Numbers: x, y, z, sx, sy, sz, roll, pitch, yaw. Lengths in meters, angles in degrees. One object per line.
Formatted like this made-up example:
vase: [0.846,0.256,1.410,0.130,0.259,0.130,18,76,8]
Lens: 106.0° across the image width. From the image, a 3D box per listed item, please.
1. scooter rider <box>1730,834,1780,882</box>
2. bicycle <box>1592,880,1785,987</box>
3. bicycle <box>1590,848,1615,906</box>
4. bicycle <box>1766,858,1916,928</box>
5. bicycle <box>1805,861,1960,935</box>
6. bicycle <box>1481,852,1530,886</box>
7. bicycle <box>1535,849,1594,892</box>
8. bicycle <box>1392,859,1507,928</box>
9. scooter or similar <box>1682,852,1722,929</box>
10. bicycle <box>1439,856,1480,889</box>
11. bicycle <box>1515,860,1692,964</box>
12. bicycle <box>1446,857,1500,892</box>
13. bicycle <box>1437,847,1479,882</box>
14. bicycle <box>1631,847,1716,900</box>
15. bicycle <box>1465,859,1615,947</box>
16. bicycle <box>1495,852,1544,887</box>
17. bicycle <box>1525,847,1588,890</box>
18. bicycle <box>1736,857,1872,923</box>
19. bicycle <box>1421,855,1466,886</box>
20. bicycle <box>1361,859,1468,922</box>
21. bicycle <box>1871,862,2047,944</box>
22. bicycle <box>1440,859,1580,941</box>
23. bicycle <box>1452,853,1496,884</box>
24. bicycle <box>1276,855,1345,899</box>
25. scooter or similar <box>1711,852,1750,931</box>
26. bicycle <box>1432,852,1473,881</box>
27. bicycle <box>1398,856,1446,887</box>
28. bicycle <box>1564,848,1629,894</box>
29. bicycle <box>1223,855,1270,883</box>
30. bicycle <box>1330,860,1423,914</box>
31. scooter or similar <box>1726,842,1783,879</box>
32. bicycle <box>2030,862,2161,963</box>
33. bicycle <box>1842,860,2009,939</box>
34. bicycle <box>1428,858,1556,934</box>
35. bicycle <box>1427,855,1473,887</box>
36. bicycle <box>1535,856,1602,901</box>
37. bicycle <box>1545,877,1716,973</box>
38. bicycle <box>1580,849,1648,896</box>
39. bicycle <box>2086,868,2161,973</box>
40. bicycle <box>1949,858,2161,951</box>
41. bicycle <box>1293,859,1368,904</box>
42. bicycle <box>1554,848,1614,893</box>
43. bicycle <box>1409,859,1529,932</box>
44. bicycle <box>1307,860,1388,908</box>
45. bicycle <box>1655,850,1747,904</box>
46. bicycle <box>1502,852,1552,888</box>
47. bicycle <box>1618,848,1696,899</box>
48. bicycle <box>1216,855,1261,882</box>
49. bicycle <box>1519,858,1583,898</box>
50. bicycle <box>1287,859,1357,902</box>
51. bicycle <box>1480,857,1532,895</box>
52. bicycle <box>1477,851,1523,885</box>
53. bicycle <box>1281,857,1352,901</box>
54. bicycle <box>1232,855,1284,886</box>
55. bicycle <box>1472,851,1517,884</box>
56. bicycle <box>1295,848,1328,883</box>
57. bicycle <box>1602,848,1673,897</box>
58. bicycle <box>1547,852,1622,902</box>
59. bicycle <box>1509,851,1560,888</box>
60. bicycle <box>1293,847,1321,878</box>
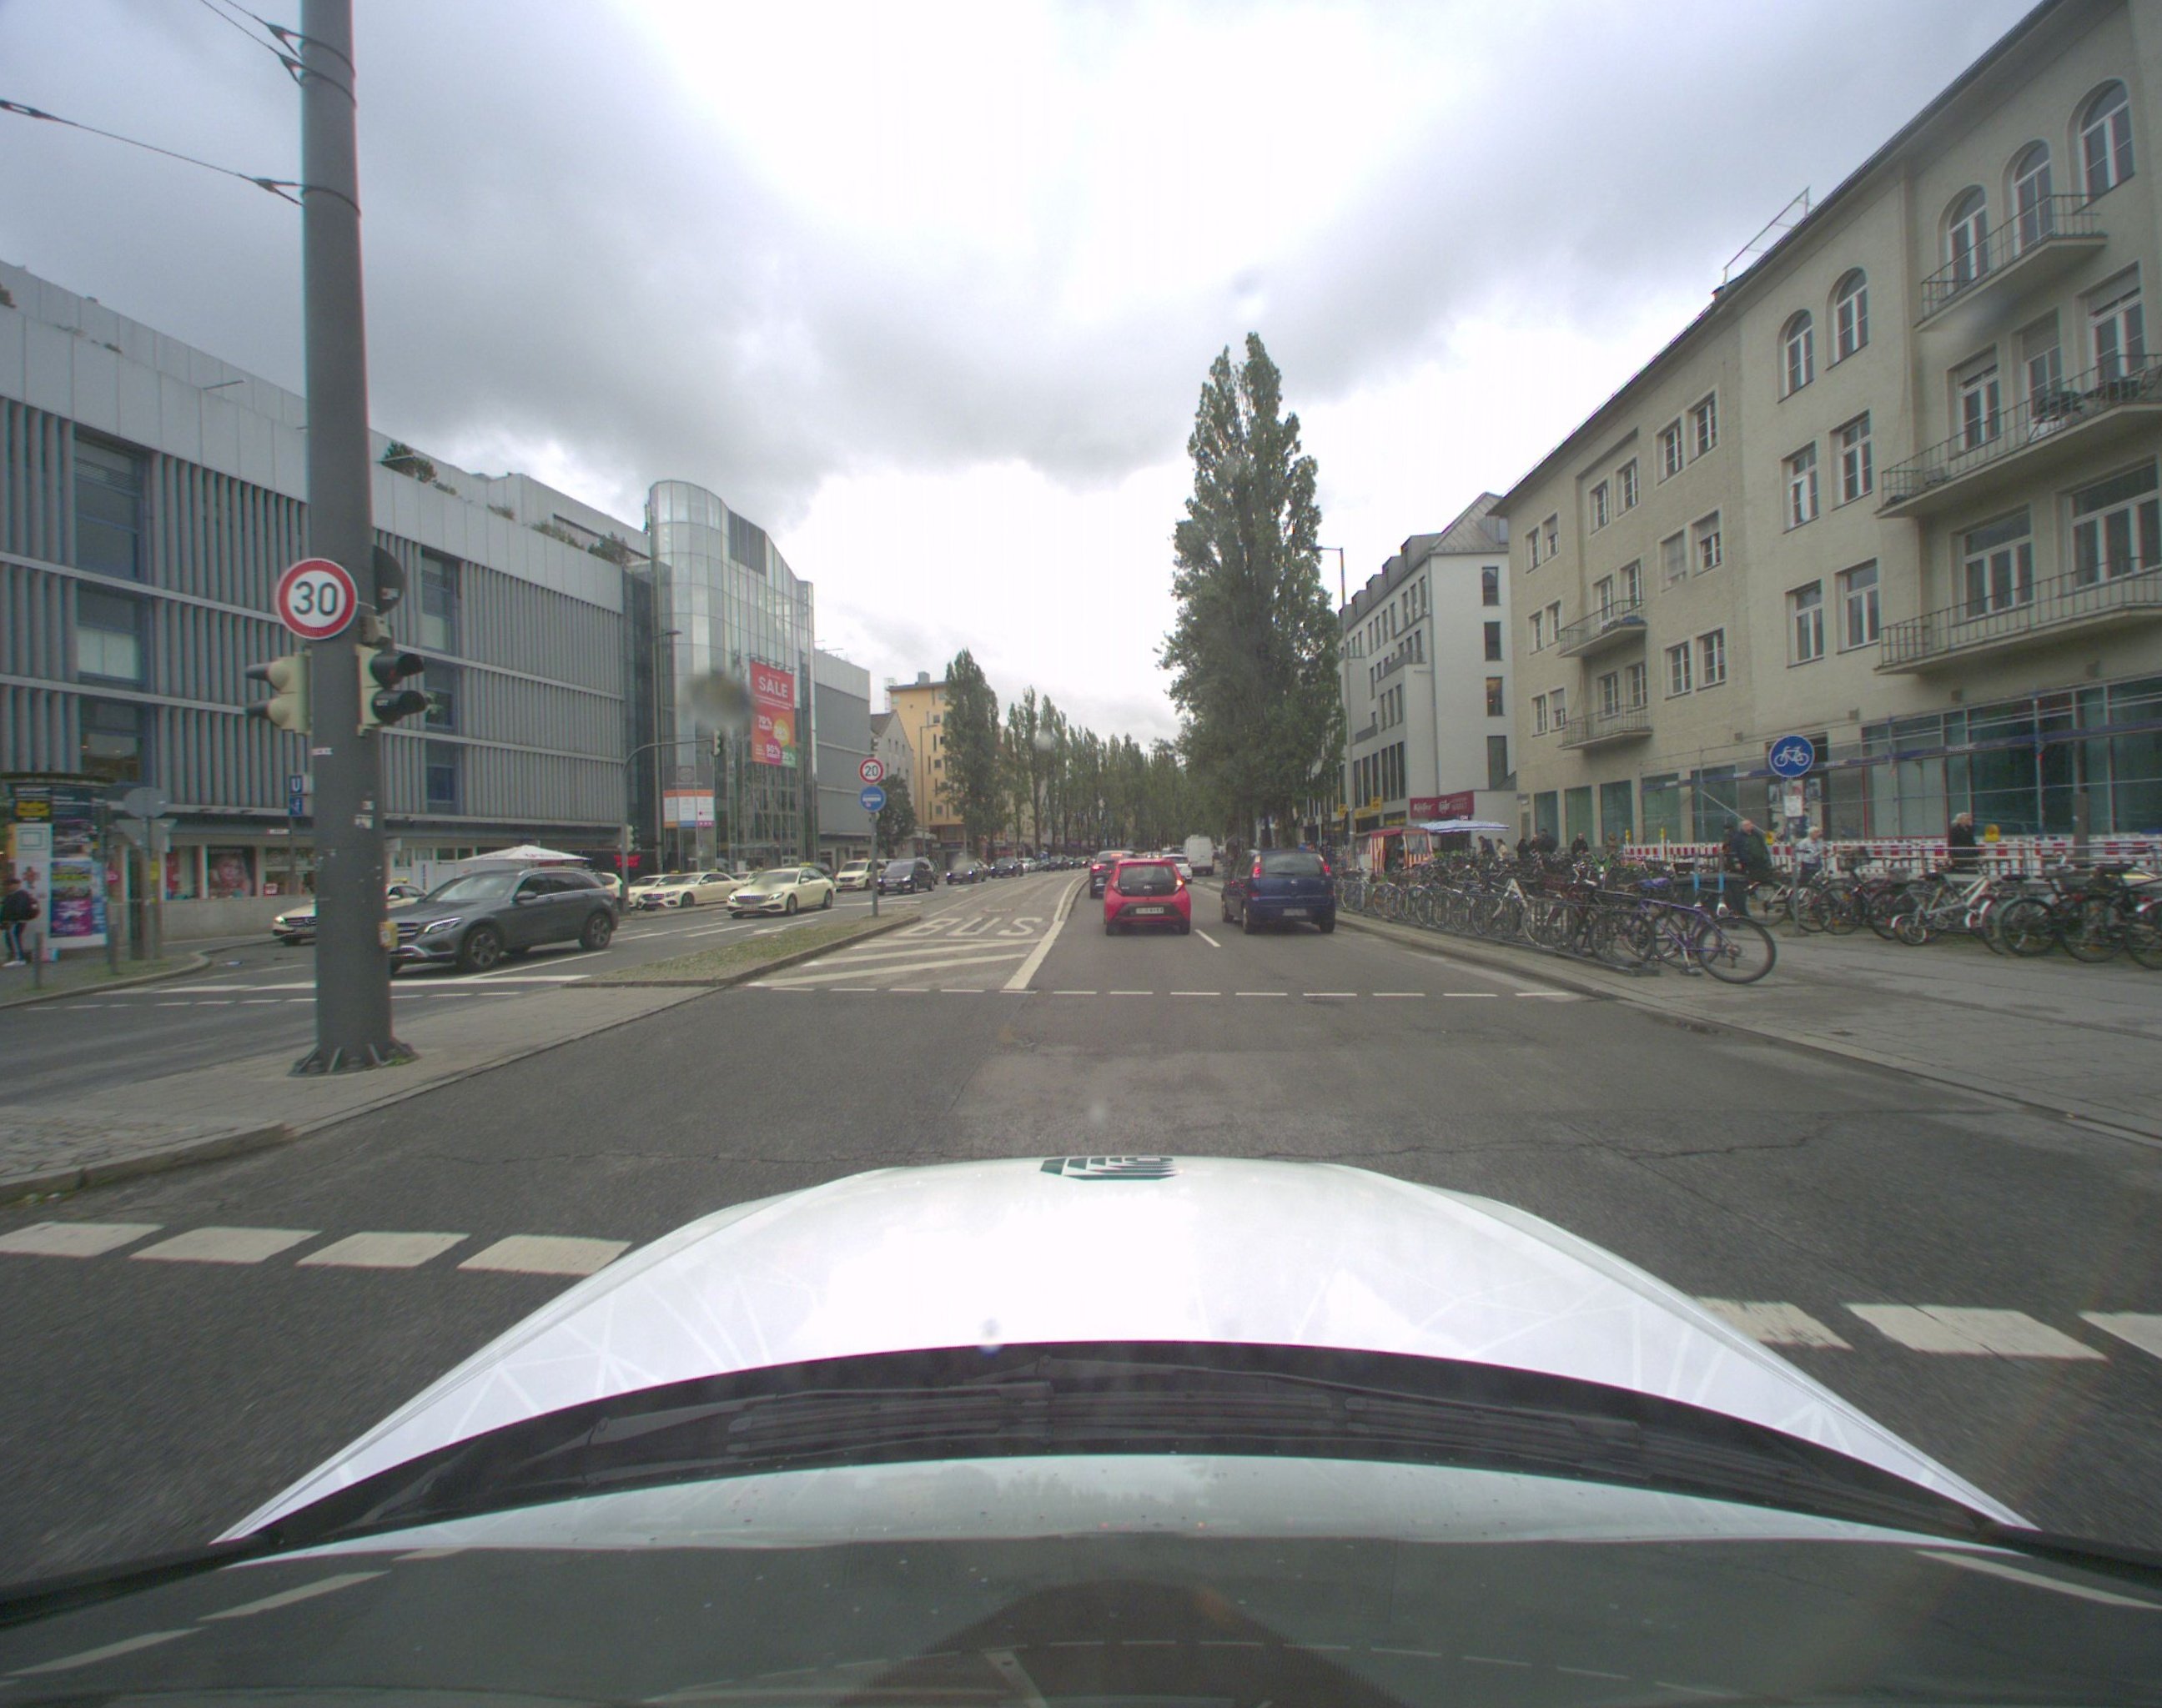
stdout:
scooter rider: [17.977,0.097,21.747,0.683,1.219,0.719,-3,0,0]
bicycle: [6.526,0.807,8.817,0.502,1.028,1.582,-2,0,-40]
bicycle: [11.169,0.471,17.435,0.364,1.141,1.734,-2,0,34]
bicycle: [11.374,0.573,12.212,1.747,0.964,0.453,-2,0,2]
bicycle: [11.448,0.615,11.651,1.748,0.964,0.453,-2,0,0]
bicycle: [12.846,0.457,24.655,1.240,0.981,0.369,-2,0,-2]
bicycle: [12.771,0.439,21.514,1.326,1.075,0.368,-2,0,-5]
bicycle: [6.563,0.698,14.538,1.781,1.158,0.490,-2,0,32]
scooter or similar: [10.231,0.575,13.435,0.360,1.176,1.356,-2,0,32]
bicycle: [11.633,0.562,25.030,1.229,0.963,0.367,-2,0,-20]
bicycle: [6.582,0.698,10.333,0.562,1.198,1.782,-2,0,-45]
bicycle: [11.455,0.586,23.815,1.399,0.963,0.369,-2,0,-4]
bicycle: [13.036,0.351,28.140,1.240,1.140,0.369,-2,0,0]
bicycle: [13.062,0.424,17.959,1.546,1.075,0.451,-2,0,-3]
bicycle: [6.573,0.683,11.728,1.781,1.158,0.551,-2,0,40]
bicycle: [12.925,0.457,24.002,1.242,0.981,0.368,-2,0,-7]
bicycle: [12.953,0.391,22.196,1.497,1.075,0.368,-2,0,-5]
bicycle: [11.435,0.565,12.904,1.747,0.964,0.369,-2,0,2]
bicycle: [11.705,0.525,26.317,1.255,0.963,0.370,-2,0,4]
bicycle: [6.505,0.707,15.918,1.781,1.158,0.656,-2,0,37]
bicycle: [11.281,0.618,10.487,1.748,0.964,0.453,-2,0,0]
bicycle: [6.508,0.681,12.413,1.781,1.158,0.551,-2,0,40]
bicycle: [13.004,0.479,26.951,1.240,0.981,0.369,-2,0,0]
bicycle: [6.629,0.665,23.596,1.815,1.197,0.590,-2,0,44]
scooter or similar: [10.407,0.575,13.068,0.297,1.176,1.285,-2,0,32]
bicycle: [13.146,0.438,28.840,1.240,0.963,0.369,-2,0,0]
bicycle: [11.640,0.596,27.810,1.423,0.963,0.370,-2,0,7]
bicycle: [12.904,0.419,20.396,1.424,1.075,0.368,-2,0,-5]
bicycle: [6.925,0.625,34.155,1.814,1.136,0.590,-2,0,38]
bicycle: [6.504,0.725,17.981,1.781,1.111,0.656,-2,0,39]
scooter or similar: [18.002,0.173,21.791,0.533,0.943,1.125,-3,0,0]
bicycle: [11.226,0.589,8.583,1.832,0.964,0.509,-2,0,0]
bicycle: [11.374,0.608,10.990,1.748,0.964,0.453,-2,0,0]
bicycle: [6.642,0.680,13.220,1.782,1.158,0.490,-2,0,28]
bicycle: [11.694,0.531,25.834,1.253,0.963,0.370,-2,0,11]
bicycle: [11.358,0.568,18.992,1.309,0.999,0.369,-2,0,2]
bicycle: [6.481,0.796,9.675,0.502,1.028,1.582,-2,0,-40]
bicycle: [12.960,0.454,19.800,1.424,1.075,0.368,-2,0,-5]
bicycle: [11.180,0.616,8.052,1.832,0.964,0.509,-2,0,0]
bicycle: [11.226,0.571,9.410,1.832,0.964,0.509,-2,0,0]
bicycle: [6.563,0.719,21.486,1.782,1.111,0.590,-2,0,44]
bicycle: [12.949,0.418,20.959,1.326,1.075,0.368,-2,0,-5]
bicycle: [6.598,0.701,13.882,1.782,1.158,0.490,-2,0,31]
bicycle: [6.542,0.722,20.058,1.782,1.111,0.566,-2,0,43]
bicycle: [13.173,0.486,17.326,1.543,1.075,0.452,-2,0,3]
bicycle: [12.819,0.458,23.437,1.241,0.981,0.368,-2,0,-5]
bicycle: [13.067,0.444,18.488,1.547,1.075,0.368,-2,0,-5]
bicycle: [6.891,0.621,35.624,1.814,1.136,0.590,-2,0,38]
bicycle: [11.338,0.575,19.649,1.287,0.915,0.369,-2,0,2]
bicycle: [6.532,0.717,22.152,1.782,1.111,0.494,-2,0,44]
bicycle: [11.484,0.588,22.012,1.177,0.963,0.369,-2,0,0]
bicycle: [12.992,0.437,25.270,1.242,0.981,0.368,-2,0,-7]
bicycle: [6.574,0.685,22.815,1.815,1.168,0.590,-2,0,44]
bicycle: [6.823,0.631,31.426,1.814,1.136,0.590,-2,0,38]
bicycle: [13.082,0.436,25.769,1.242,0.981,0.368,-2,0,-7]
bicycle: [8.858,0.427,31.359,0.611,1.265,2.521,-2,0,3]
bicycle: [12.994,0.422,19.010,1.424,1.075,0.368,-2,0,-5]
bicycle: [11.421,0.517,18.485,1.412,1.077,0.369,-2,0,2]
bicycle: [12.709,0.440,22.825,1.241,0.981,0.368,-2,0,-5]
bicycle: [9.885,0.360,35.721,0.611,1.265,2.521,-2,0,3]
